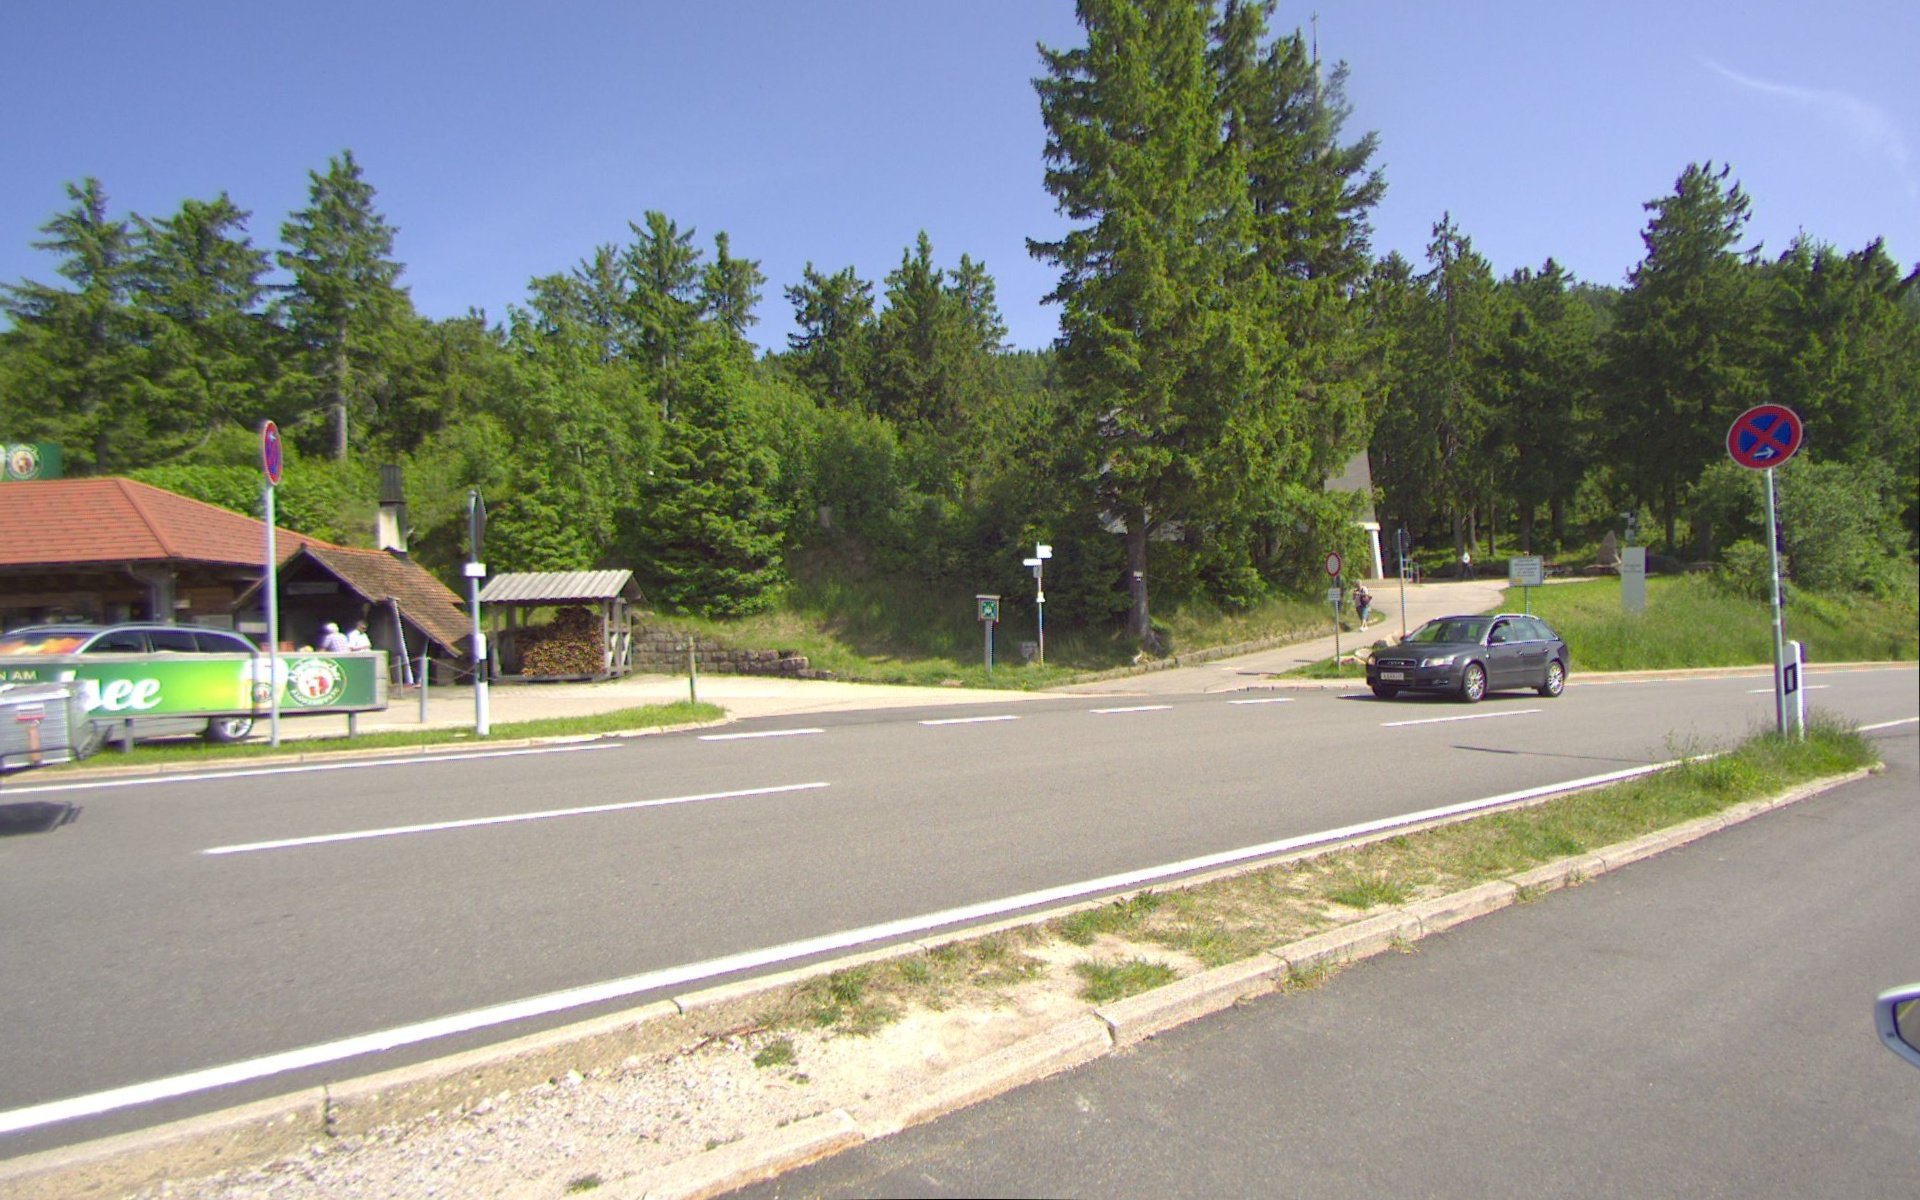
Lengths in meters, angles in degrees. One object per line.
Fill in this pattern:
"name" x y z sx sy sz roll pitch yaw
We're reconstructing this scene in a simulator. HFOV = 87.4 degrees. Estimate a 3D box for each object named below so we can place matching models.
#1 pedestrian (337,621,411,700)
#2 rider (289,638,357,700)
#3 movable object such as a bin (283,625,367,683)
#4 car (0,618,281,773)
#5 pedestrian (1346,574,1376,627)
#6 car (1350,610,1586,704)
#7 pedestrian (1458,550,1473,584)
"pedestrian" -13.160 1.337 22.603 1.141 1.721 0.977 0 -2 -10
"rider" -13.688 1.465 21.611 0.891 1.291 0.840 -1 -1 14
"movable object such as a bin" -13.681 1.152 21.656 1.192 1.204 0.984 -1 -1 14
"car" -9.754 0.959 10.729 1.687 1.449 4.506 -1 -2 5
"pedestrian" 13.142 0.026 32.902 0.711 1.703 0.680 -2 -2 38
"car" 8.916 0.935 17.530 4.402 1.457 1.696 1 -2 -33
"pedestrian" 28.926 -1.899 57.478 0.531 1.902 0.683 0 -1 0
